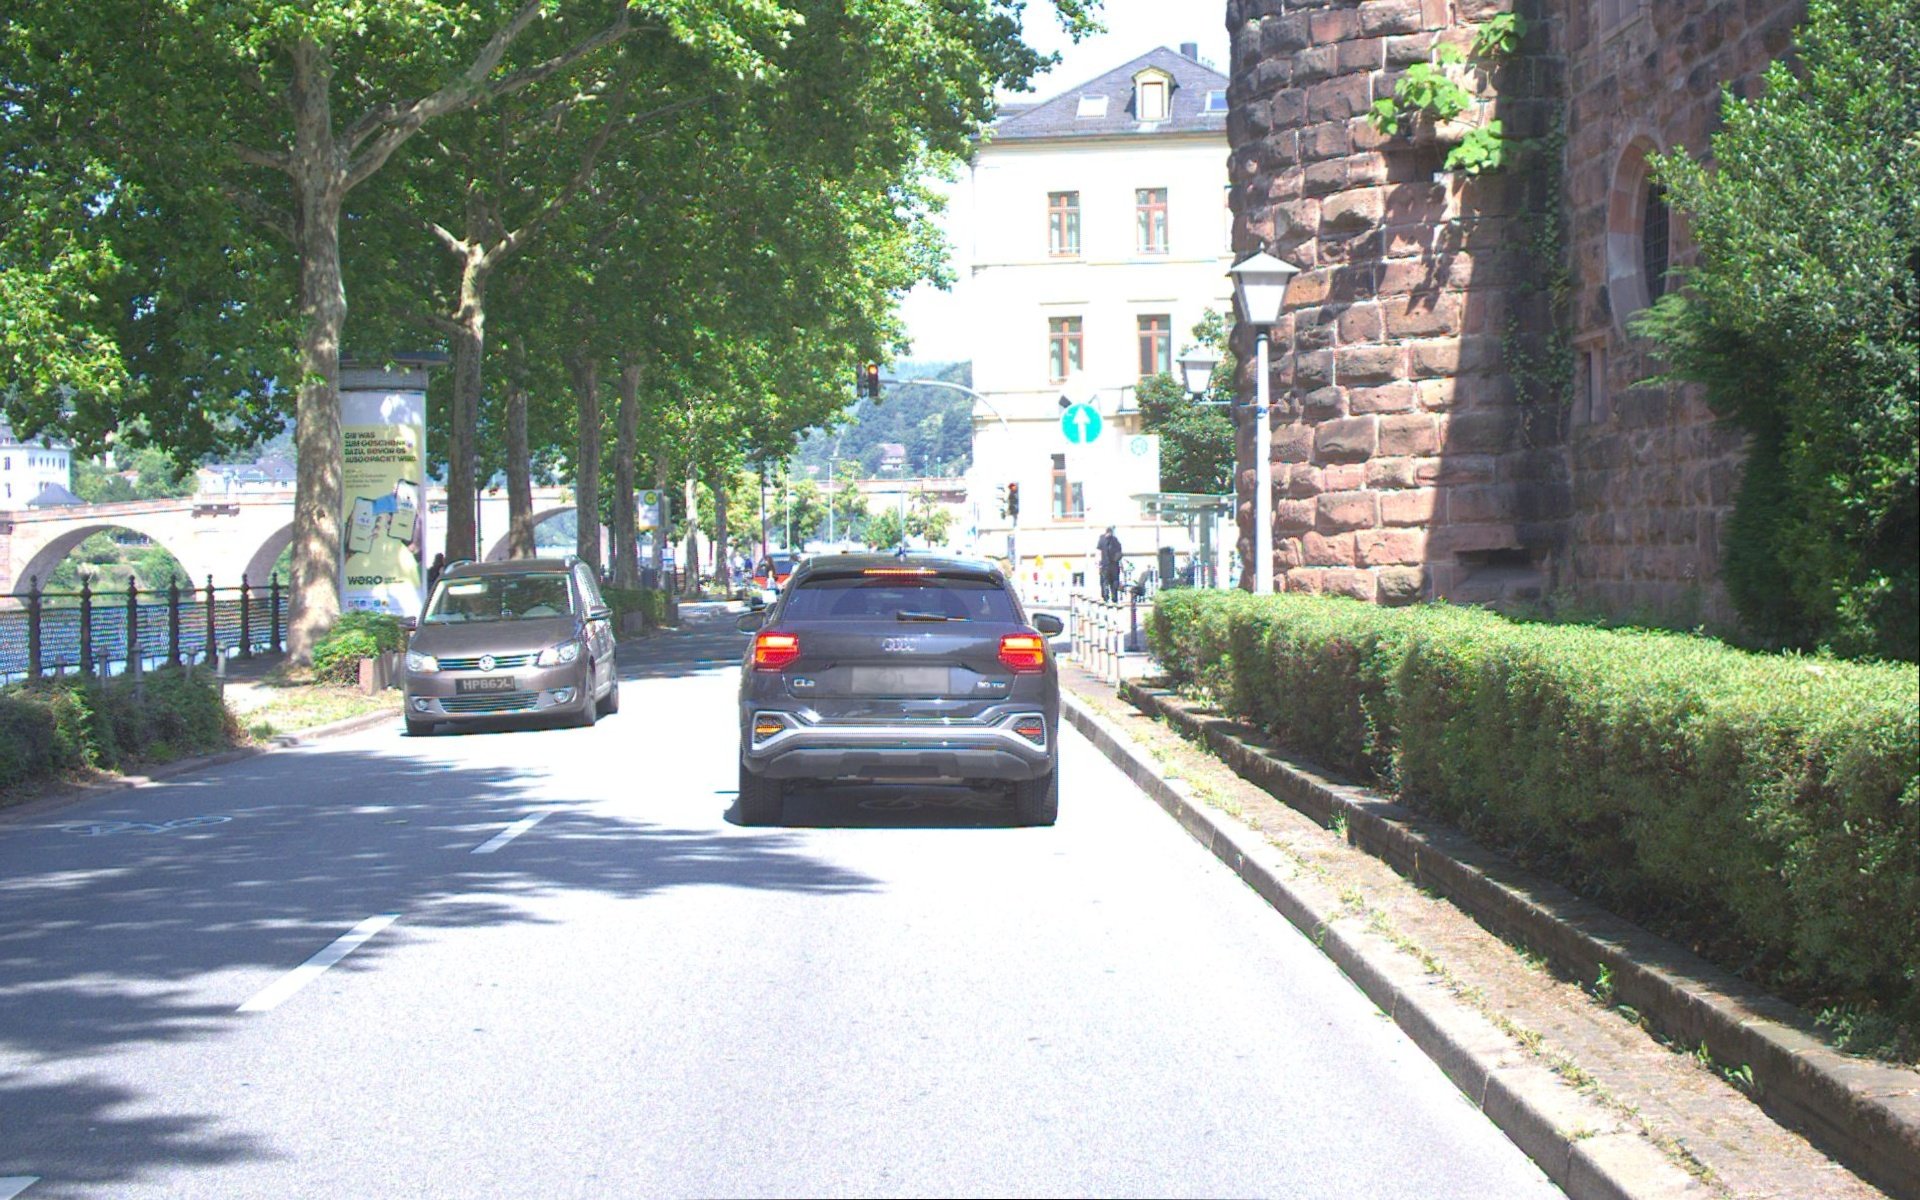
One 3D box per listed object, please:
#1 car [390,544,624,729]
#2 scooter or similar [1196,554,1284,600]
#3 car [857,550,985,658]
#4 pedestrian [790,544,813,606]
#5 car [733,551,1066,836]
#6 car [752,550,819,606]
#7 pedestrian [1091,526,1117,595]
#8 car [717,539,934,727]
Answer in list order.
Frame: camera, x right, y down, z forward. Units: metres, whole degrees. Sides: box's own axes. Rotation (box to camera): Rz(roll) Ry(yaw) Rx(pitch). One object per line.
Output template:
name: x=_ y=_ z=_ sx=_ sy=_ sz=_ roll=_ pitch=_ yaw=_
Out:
car: x=-4.354 y=0.306 z=33.559 sx=1.763 sy=1.642 sz=4.090 roll=-2 pitch=1 yaw=-1
scooter or similar: x=6.086 y=-0.499 z=74.669 sx=1.845 sy=0.960 sz=0.429 roll=1 pitch=0 yaw=-1
car: x=-0.569 y=0.026 z=50.691 sx=1.801 sy=1.518 sz=3.716 roll=0 pitch=1 yaw=0
pedestrian: x=-4.224 y=-0.655 z=91.399 sx=0.517 sy=1.632 sz=0.439 roll=-2 pitch=1 yaw=-8
car: x=-0.377 y=0.475 z=20.132 sx=1.748 sy=1.489 sz=3.629 roll=1 pitch=1 yaw=-2
car: x=-4.948 y=-0.645 z=97.795 sx=1.615 sy=1.518 sz=3.476 roll=-2 pitch=1 yaw=1
pedestrian: x=3.440 y=-0.937 z=82.095 sx=0.557 sy=1.627 sz=0.660 roll=1 pitch=0 yaw=0
car: x=-1.165 y=0.259 z=31.296 sx=1.801 sy=1.557 sz=3.716 roll=-2 pitch=1 yaw=0
